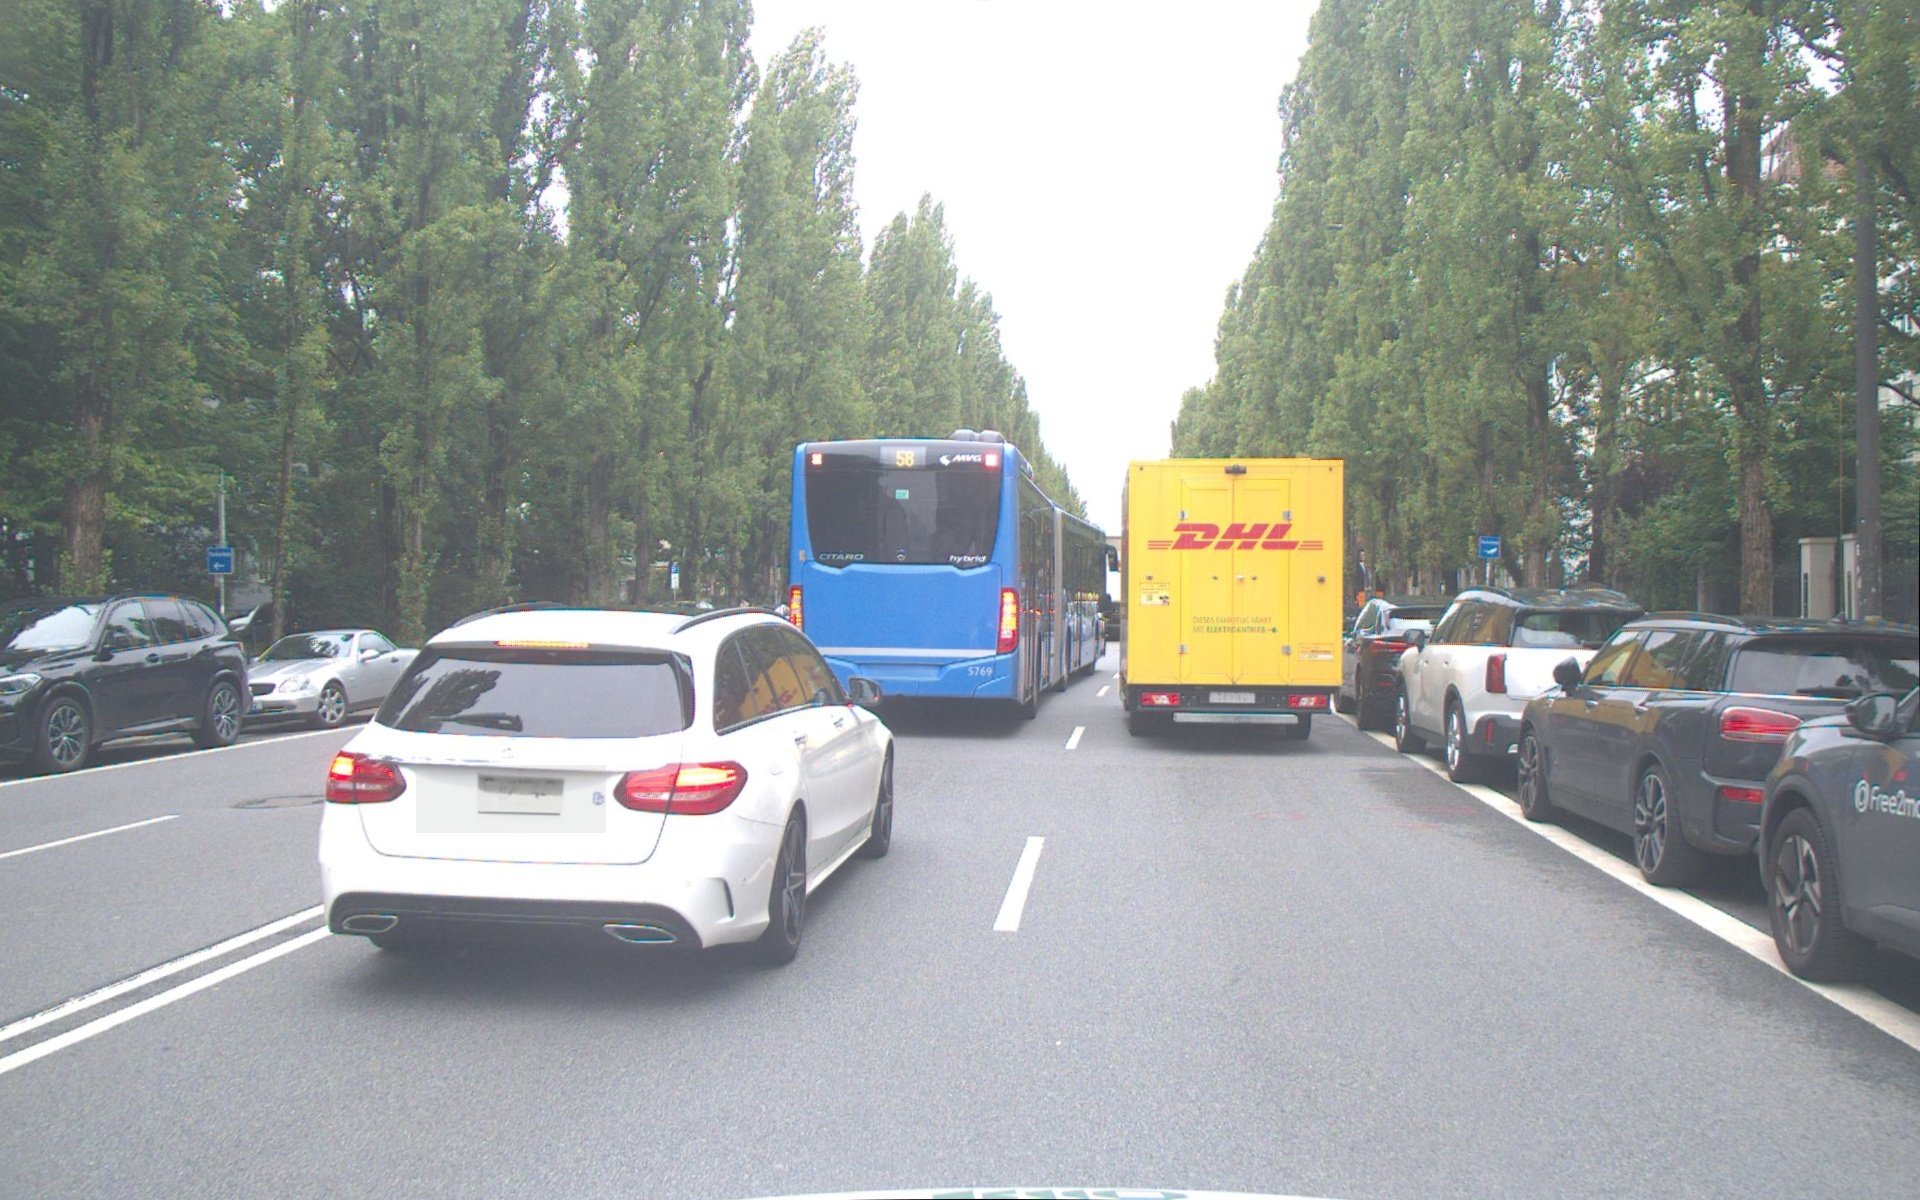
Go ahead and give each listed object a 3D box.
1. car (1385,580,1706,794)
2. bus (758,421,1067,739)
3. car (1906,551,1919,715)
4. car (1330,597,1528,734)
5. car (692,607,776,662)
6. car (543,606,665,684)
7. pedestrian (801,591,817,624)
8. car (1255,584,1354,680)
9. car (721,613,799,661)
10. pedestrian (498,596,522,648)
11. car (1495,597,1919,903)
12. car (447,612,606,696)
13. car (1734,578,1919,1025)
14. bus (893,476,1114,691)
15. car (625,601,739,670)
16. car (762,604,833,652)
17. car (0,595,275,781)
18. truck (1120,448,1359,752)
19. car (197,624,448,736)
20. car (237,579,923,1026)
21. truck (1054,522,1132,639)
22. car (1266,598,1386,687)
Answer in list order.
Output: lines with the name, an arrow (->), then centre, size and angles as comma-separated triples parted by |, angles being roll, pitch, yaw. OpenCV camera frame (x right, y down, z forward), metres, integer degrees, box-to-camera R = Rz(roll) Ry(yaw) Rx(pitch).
car -> 5.087, 0.676, 14.956 | 1.743, 1.609, 4.149 | 2, 0, 5
bus -> -0.212, -0.221, 21.680 | 2.795, 3.270, 9.066 | 0, 0, 6
car -> 12.249, 0.389, 17.376 | 1.951, 1.959, 5.327 | 0, 0, 5
car -> 5.700, 0.732, 20.580 | 1.689, 1.521, 4.327 | 0, 0, 7
car -> -6.504, 0.971, 47.966 | 1.507, 1.458, 3.871 | -3, -1, 5
car -> -7.729, 0.935, 36.293 | 1.707, 1.545, 4.118 | -2, 0, 0
pedestrian -> -9.361, 0.469, 102.567 | 0.813, 2.049, 0.778 | -1, 0, 4
car -> 7.662, 0.674, 37.113 | 1.768, 2.011, 4.239 | 0, 0, 6
car -> -6.262, 1.138, 52.208 | 1.640, 1.438, 4.002 | -1, 0, 5
pedestrian -> -15.339, 0.736, 56.385 | 0.587, 1.769, 0.641 | -1, 0, 6
car -> 4.644, 0.756, 10.287 | 1.599, 1.471, 4.151 | 2, 0, 5
car -> -8.221, 0.984, 31.732 | 1.649, 1.437, 4.007 | -2, 0, 5
car -> 4.069, 0.702, 5.246 | 1.616, 1.530, 4.116 | 1, 0, 5
bus -> 1.118, -0.258, 30.904 | 2.810, 3.362, 9.797 | 0, 0, 9
car -> -6.969, 0.857, 41.910 | 1.753, 1.575, 4.341 | -3, 0, 5
car -> -5.528, 0.934, 56.675 | 1.672, 1.575, 4.002 | -1, 0, 5
car -> -9.334, 0.839, 17.481 | 1.840, 1.687, 4.721 | -3, 0, 5
truck -> 3.075, 0.009, 19.817 | 2.278, 2.949, 7.337 | 0, 0, 5
car -> -8.797, 1.055, 23.199 | 1.547, 1.327, 4.031 | -2, 0, 6
car -> -1.363, 0.685, 7.924 | 1.787, 1.480, 4.585 | 1, 0, 6
truck -> 4.914, -0.661, 62.007 | 2.659, 4.035, 9.222 | 0, 0, 4
car -> 6.928, 0.765, 31.640 | 1.823, 1.579, 4.003 | 0, 0, 7
